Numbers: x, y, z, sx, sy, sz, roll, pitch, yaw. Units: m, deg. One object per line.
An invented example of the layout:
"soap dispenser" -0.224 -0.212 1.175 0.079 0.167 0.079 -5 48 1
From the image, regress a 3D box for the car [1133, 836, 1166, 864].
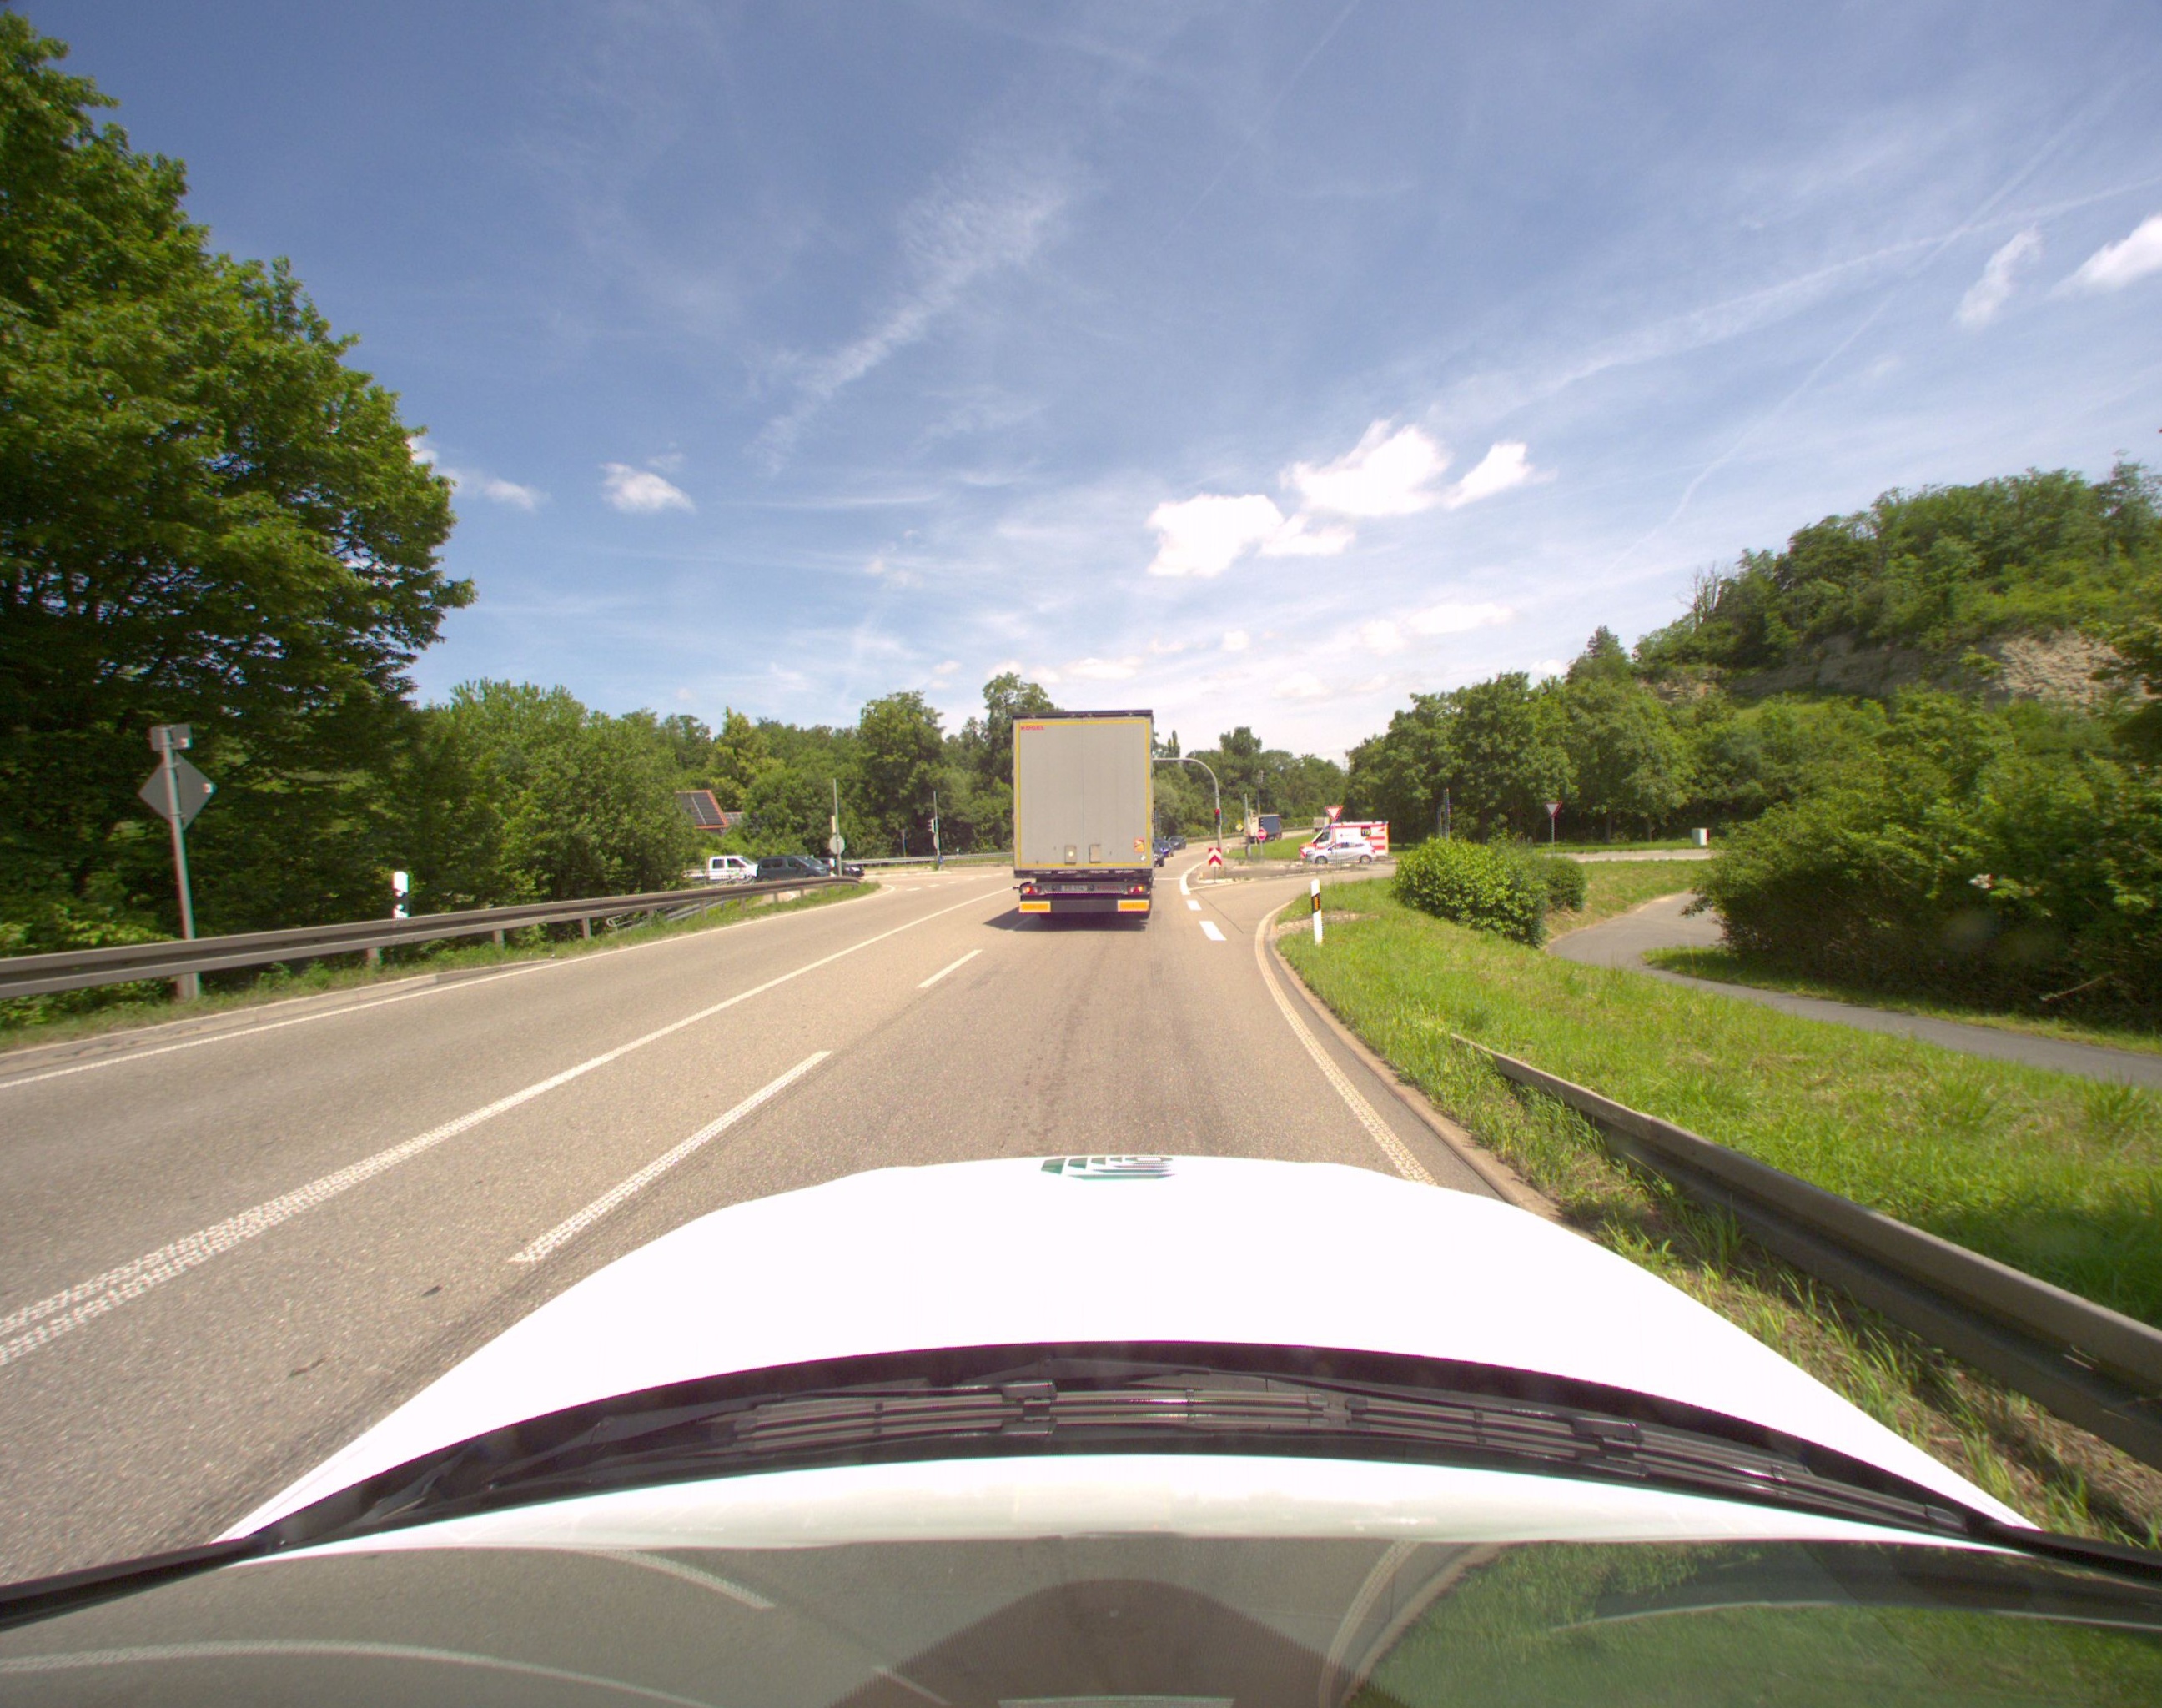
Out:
"car" 4.740 -0.216 55.748 1.983 1.785 4.952 0 -1 7

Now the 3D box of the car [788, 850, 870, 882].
"car" -15.218 0.722 49.274 4.205 1.770 2.007 -1 0 12

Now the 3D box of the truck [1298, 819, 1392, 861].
"truck" 18.300 -0.920 56.492 5.958 2.728 2.515 -1 -2 23

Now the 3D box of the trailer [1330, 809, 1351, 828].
"trailer" 56.806 -7.692 177.980 3.222 3.685 9.304 -1 0 25

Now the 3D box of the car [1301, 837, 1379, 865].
"car" 16.294 -0.159 51.416 4.403 1.718 2.004 0 -1 8

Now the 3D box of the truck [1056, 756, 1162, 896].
"truck" 1.085 -0.835 27.150 3.024 4.033 6.638 -1 0 5

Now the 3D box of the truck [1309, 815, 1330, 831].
"truck" 48.047 -6.213 163.919 2.829 2.948 7.146 -1 0 25

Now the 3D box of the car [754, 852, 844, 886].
"car" -15.620 0.807 45.152 4.205 1.770 2.007 -1 0 12

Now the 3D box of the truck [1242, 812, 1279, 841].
"truck" 26.540 -3.989 119.794 3.151 4.028 11.810 0 1 23

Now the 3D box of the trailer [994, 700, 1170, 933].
"trailer" 0.533 -0.718 20.597 3.037 4.033 12.576 -1 0 5

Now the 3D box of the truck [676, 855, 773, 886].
"truck" -21.232 0.973 48.677 4.875 1.791 2.037 0 -1 -9
